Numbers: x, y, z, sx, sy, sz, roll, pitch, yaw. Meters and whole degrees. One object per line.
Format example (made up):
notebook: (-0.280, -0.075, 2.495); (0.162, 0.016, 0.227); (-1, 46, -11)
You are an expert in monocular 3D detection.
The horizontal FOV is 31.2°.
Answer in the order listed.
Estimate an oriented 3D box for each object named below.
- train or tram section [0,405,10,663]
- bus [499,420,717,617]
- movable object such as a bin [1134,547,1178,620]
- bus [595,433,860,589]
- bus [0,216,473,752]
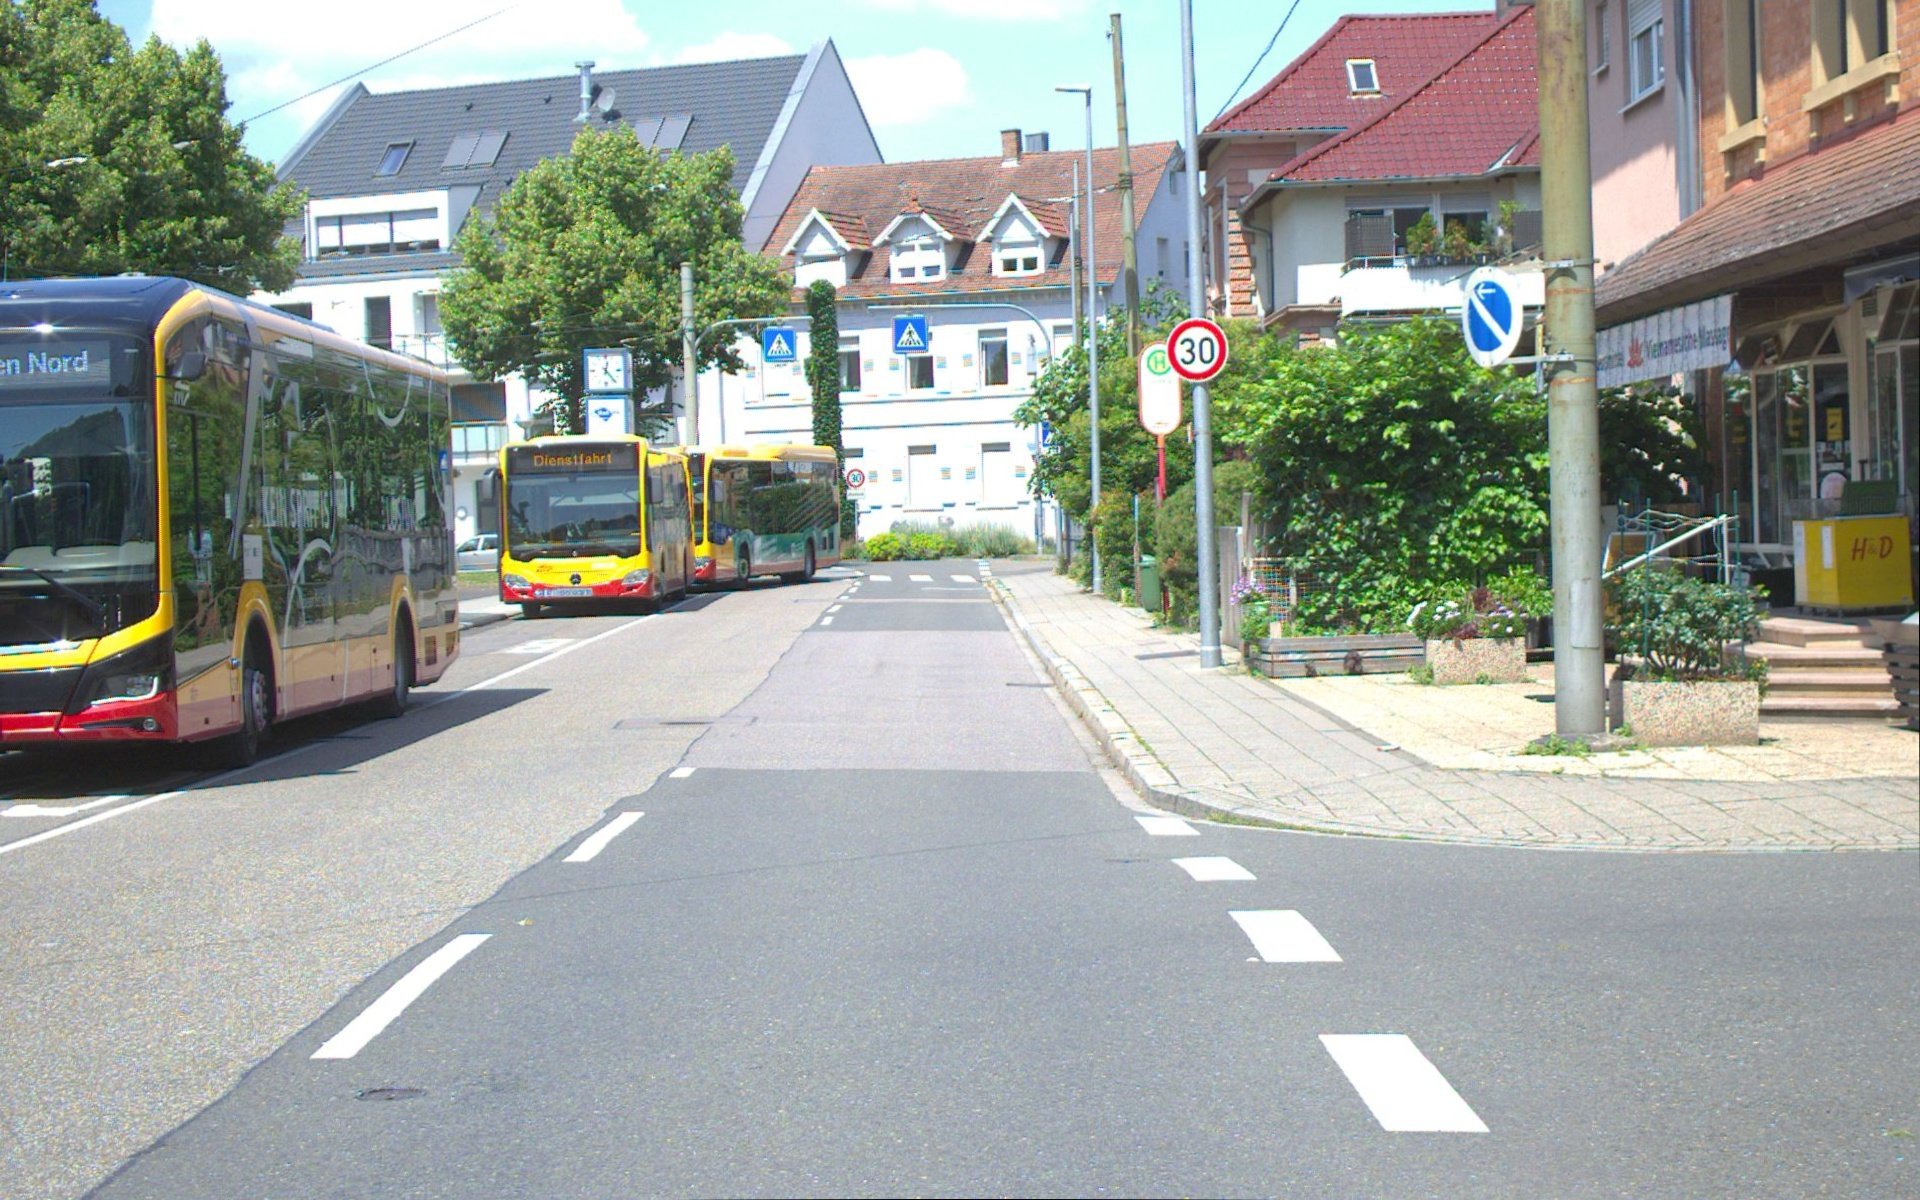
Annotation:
train or tram section: (-14.905, -0.822, 41.720); (2.963, 3.630, 13.995); (0, 1, 0)
bus: (-6.273, -1.456, 63.154); (2.907, 3.237, 12.119); (0, 1, -1)
movable object such as a bin: (2.508, -0.209, 43.955); (0.406, 0.904, 0.729); (-5, 0, -3)
bus: (-4.950, -2.054, 76.611); (2.781, 3.197, 12.301); (1, 2, 11)
bus: (-6.145, -0.710, 26.905); (2.898, 3.236, 12.196); (0, 0, 0)
